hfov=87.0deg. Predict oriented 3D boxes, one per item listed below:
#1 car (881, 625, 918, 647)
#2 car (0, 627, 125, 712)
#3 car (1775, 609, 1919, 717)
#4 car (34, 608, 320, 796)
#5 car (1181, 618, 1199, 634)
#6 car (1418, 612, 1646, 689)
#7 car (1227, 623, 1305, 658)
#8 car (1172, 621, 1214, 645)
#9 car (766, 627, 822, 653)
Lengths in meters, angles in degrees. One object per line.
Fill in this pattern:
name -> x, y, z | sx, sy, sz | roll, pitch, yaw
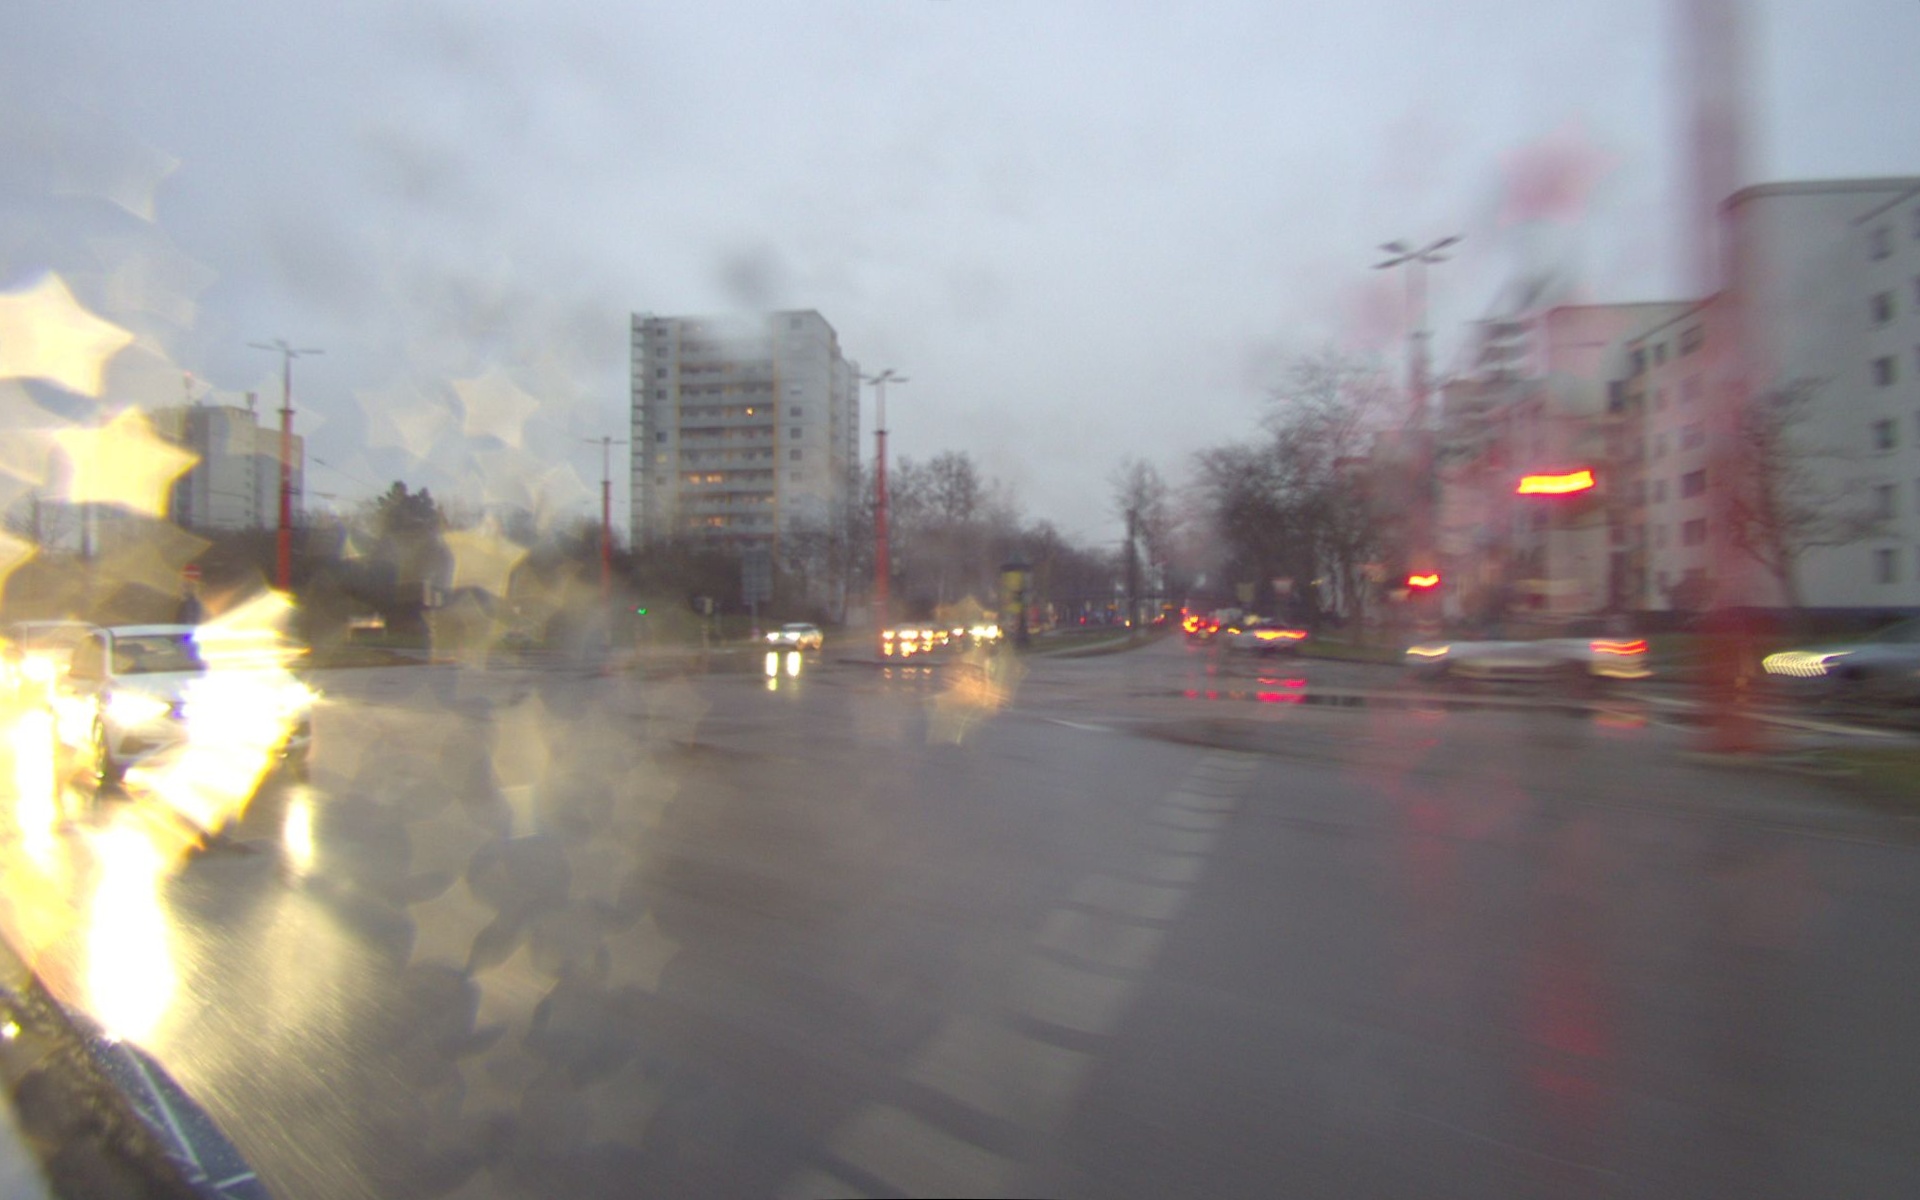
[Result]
car -> -4.497, 2.660, 75.622 | 1.696, 1.556, 3.981 | 0, -2, 14
car -> -18.910, 1.357, 21.085 | 4.188, 1.551, 1.672 | -1, 0, 41
car -> 14.658, 0.912, 15.004 | 3.944, 1.565, 1.752 | -2, -2, 40
car -> -8.583, 0.943, 10.959 | 4.145, 1.660, 1.696 | -1, -2, 41
car -> 24.842, 2.806, 109.566 | 1.519, 1.652, 3.990 | 0, -2, 8
car -> 12.212, 1.052, 21.746 | 4.014, 1.506, 1.602 | -2, -2, 40
car -> 13.978, 1.823, 46.516 | 1.971, 1.541, 4.600 | 0, -1, -3
car -> 15.347, 2.151, 66.865 | 1.974, 1.541, 4.479 | 0, -1, 4
car -> -10.239, 2.472, 62.655 | 1.834, 1.556, 4.419 | 0, -2, 14
